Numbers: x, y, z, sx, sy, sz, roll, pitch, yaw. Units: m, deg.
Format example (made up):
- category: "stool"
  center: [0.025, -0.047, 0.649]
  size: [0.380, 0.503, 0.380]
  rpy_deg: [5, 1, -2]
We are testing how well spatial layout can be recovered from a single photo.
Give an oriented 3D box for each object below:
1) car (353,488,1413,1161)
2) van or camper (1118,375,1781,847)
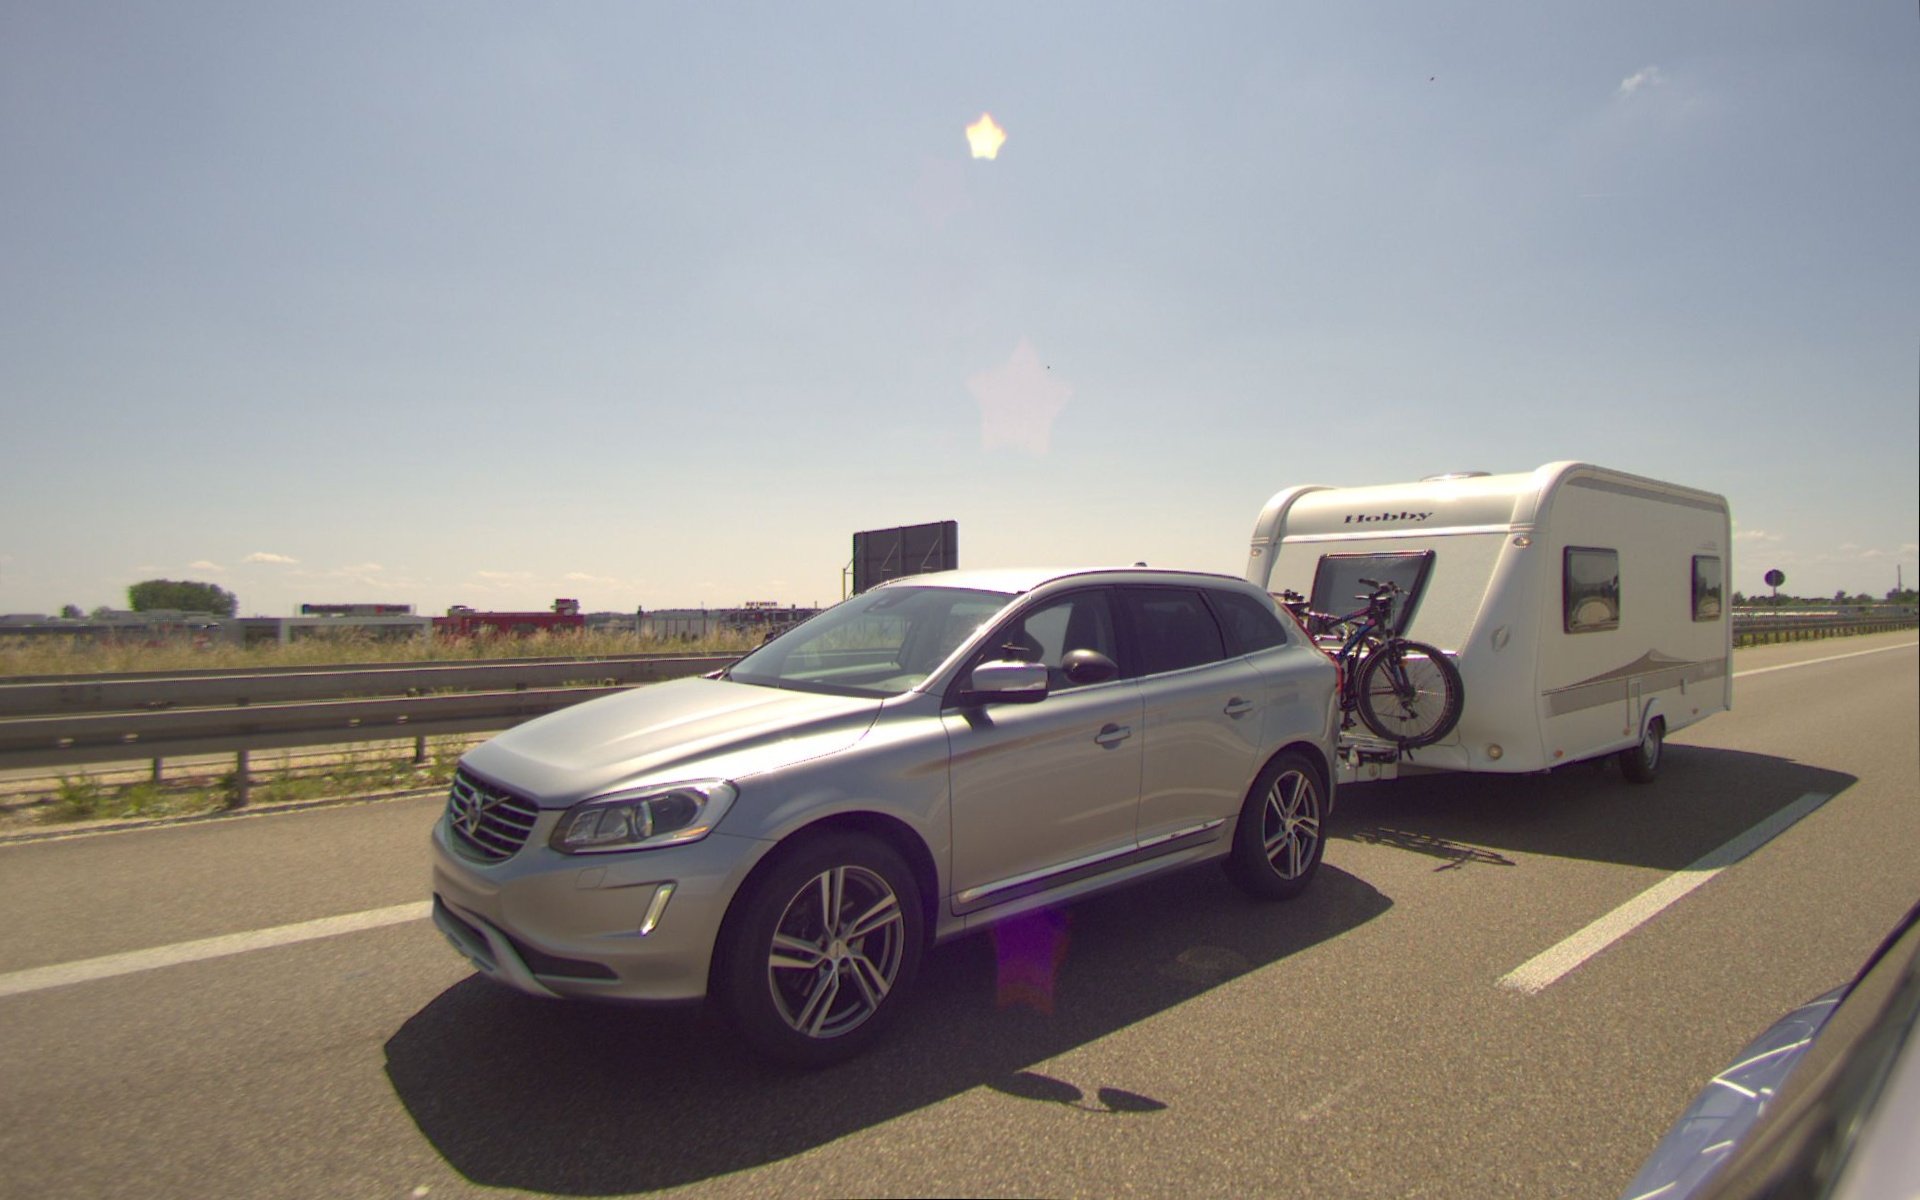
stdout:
- category: "car"
  center: [0.082, 0.552, 4.772]
  size: [4.817, 1.643, 1.884]
  rpy_deg: [0, 0, -41]
- category: "van or camper"
  center: [4.899, 0.082, 9.094]
  size: [7.679, 2.626, 2.517]
  rpy_deg: [1, -1, -41]
